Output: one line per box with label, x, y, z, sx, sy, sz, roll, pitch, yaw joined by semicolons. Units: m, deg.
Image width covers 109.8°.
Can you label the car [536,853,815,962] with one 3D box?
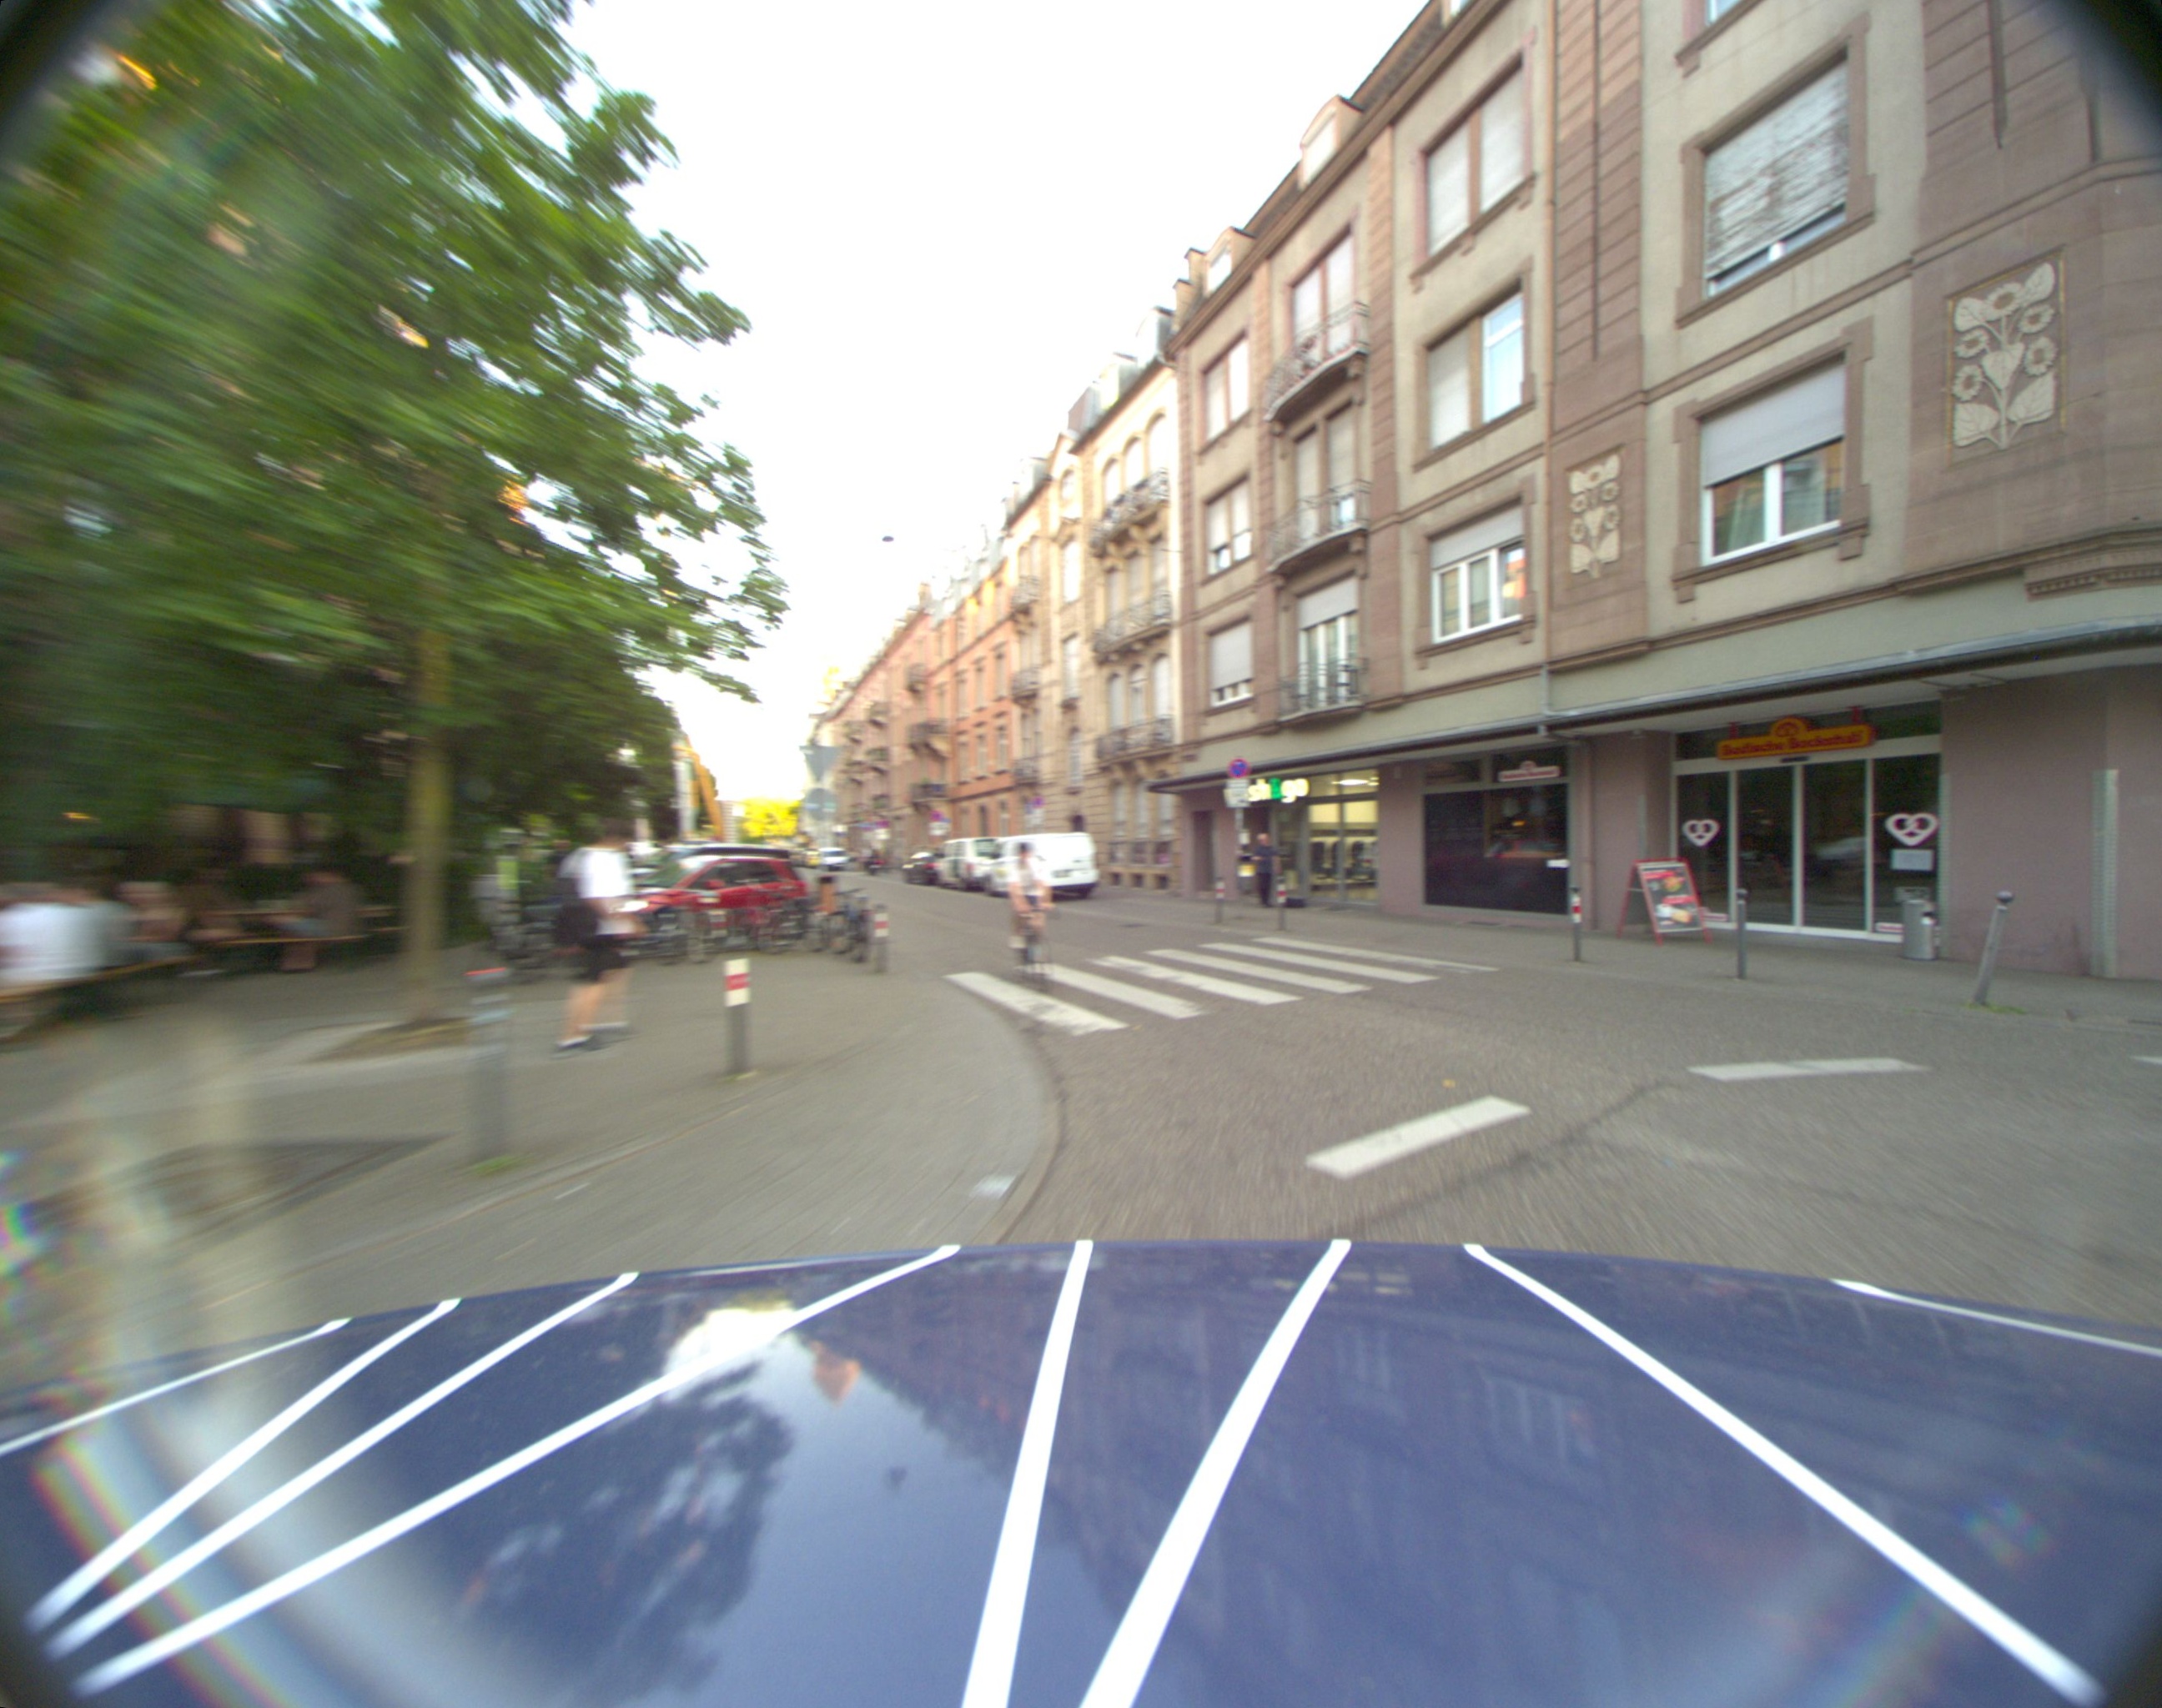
car;-6.973;0.826;13.493;1.688;1.618;4.057;-1;-1;32

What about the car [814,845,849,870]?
car;-19.618;0.252;59.717;1.778;1.779;4.576;-3;2;-28

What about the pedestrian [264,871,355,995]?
pedestrian;-9.349;0.931;9.236;0.640;1.401;0.513;-4;3;-38

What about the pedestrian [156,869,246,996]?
pedestrian;-10.329;0.890;8.922;0.618;1.401;0.515;-1;3;31

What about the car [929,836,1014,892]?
car;-4.310;0.325;29.229;1.845;1.910;4.835;-2;1;-25

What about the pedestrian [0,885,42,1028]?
pedestrian;-10.029;0.941;6.821;0.547;1.262;0.573;-3;3;-25

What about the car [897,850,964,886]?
car;-6.863;0.567;34.321;1.845;1.462;4.163;-2;1;-28

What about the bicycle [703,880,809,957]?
bicycle;-5.331;1.036;12.525;1.555;1.154;0.364;-1;1;-40

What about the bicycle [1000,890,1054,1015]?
bicycle;-0.628;1.072;8.852;0.520;1.149;1.781;-2;2;-4

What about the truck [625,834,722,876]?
truck;-32.733;0.038;61.342;6.508;3.059;2.519;-3;3;-23

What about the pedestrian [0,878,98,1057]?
pedestrian;-8.634;0.910;6.187;0.547;1.372;0.465;-3;3;-28

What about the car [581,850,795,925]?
car;-9.424;0.754;18.578;1.928;1.612;4.233;0;-1;31

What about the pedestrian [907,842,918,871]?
pedestrian;-10.675;0.149;48.143;0.465;1.779;0.640;-3;3;-23

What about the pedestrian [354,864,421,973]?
pedestrian;-9.454;0.854;10.376;0.555;1.401;0.513;-4;3;-38

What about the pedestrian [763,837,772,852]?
pedestrian;-58.447;-1.784;141.615;1.448;2.725;1.009;-3;3;-27

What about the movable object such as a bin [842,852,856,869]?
movable object such as a bin;-17.565;0.490;57.535;0.891;1.244;0.774;-3;3;-26

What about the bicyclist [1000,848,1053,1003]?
bicyclist;-0.637;0.794;8.869;0.529;1.694;0.789;-2;3;-4

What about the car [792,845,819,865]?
car;-28.150;0.087;77.632;1.936;1.872;4.894;-2;1;-27

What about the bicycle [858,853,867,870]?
bicycle;-15.828;0.525;55.002;0.467;1.149;1.996;-3;2;-19

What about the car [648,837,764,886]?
car;-19.314;0.352;39.305;1.994;2.349;4.949;0;1;38

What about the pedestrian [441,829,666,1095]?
pedestrian;-3.790;0.715;5.567;0.868;1.760;0.948;-2;2;0

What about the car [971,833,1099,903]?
car;-1.595;0.369;23.847;2.119;1.910;5.014;-2;1;-27

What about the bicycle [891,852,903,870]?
bicycle;-12.493;0.480;51.489;0.413;1.153;1.833;-3;2;-25

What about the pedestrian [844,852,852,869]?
pedestrian;-17.676;0.491;57.622;0.480;1.244;0.651;-3;3;-26

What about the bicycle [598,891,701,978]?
bicycle;-6.089;1.089;10.678;1.764;1.057;0.600;0;0;37

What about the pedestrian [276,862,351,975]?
pedestrian;-10.106;0.822;10.026;0.555;1.401;0.513;-4;3;-38

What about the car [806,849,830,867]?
car;-23.884;0.325;68.905;1.713;1.521;3.784;-2;1;-24

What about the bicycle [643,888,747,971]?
bicycle;-5.696;1.075;11.181;1.764;1.057;0.600;0;3;37

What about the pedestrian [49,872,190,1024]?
pedestrian;-9.345;0.885;7.413;0.547;1.372;0.573;-3;3;-19

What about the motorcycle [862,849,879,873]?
motorcycle;-12.933;0.436;46.579;0.687;1.397;2.010;-3;2;-23

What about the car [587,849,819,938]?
car;-8.061;0.786;16.665;1.928;1.678;4.233;0;-1;26

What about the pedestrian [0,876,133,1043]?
pedestrian;-9.049;0.905;6.765;0.547;1.372;0.465;-3;3;-28

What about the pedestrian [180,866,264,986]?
pedestrian;-10.746;0.876;9.528;0.515;1.401;0.618;-4;3;-38

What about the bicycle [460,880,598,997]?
bicycle;-6.670;0.964;9.163;1.718;1.281;0.600;-1;1;28

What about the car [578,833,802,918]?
car;-10.640;0.573;21.255;1.928;2.060;5.448;0;-1;26

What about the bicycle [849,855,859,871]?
bicycle;-16.038;0.661;53.774;0.467;1.062;1.517;-3;2;-23

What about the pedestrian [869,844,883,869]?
pedestrian;-15.165;0.203;56.118;0.685;1.800;0.959;-4;3;-30

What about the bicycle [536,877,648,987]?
bicycle;-6.442;0.965;9.976;1.764;1.281;0.600;0;3;37

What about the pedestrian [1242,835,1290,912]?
pedestrian;4.204;0.425;17.251;0.712;1.669;0.734;-3;2;-25

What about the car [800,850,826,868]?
car;-25.697;0.468;72.883;1.936;1.587;3.961;-2;1;-24

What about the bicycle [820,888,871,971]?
bicycle;-3.553;1.095;11.397;0.366;1.057;1.548;-4;3;-30

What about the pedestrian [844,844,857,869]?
pedestrian;-17.258;0.197;56.911;0.601;1.804;0.718;-4;3;-35

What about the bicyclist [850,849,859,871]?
bicyclist;-16.082;0.421;53.907;0.467;1.582;0.486;-3;3;-23

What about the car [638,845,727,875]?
car;-26.583;0.431;50.833;5.198;1.944;1.895;1;-1;-27
